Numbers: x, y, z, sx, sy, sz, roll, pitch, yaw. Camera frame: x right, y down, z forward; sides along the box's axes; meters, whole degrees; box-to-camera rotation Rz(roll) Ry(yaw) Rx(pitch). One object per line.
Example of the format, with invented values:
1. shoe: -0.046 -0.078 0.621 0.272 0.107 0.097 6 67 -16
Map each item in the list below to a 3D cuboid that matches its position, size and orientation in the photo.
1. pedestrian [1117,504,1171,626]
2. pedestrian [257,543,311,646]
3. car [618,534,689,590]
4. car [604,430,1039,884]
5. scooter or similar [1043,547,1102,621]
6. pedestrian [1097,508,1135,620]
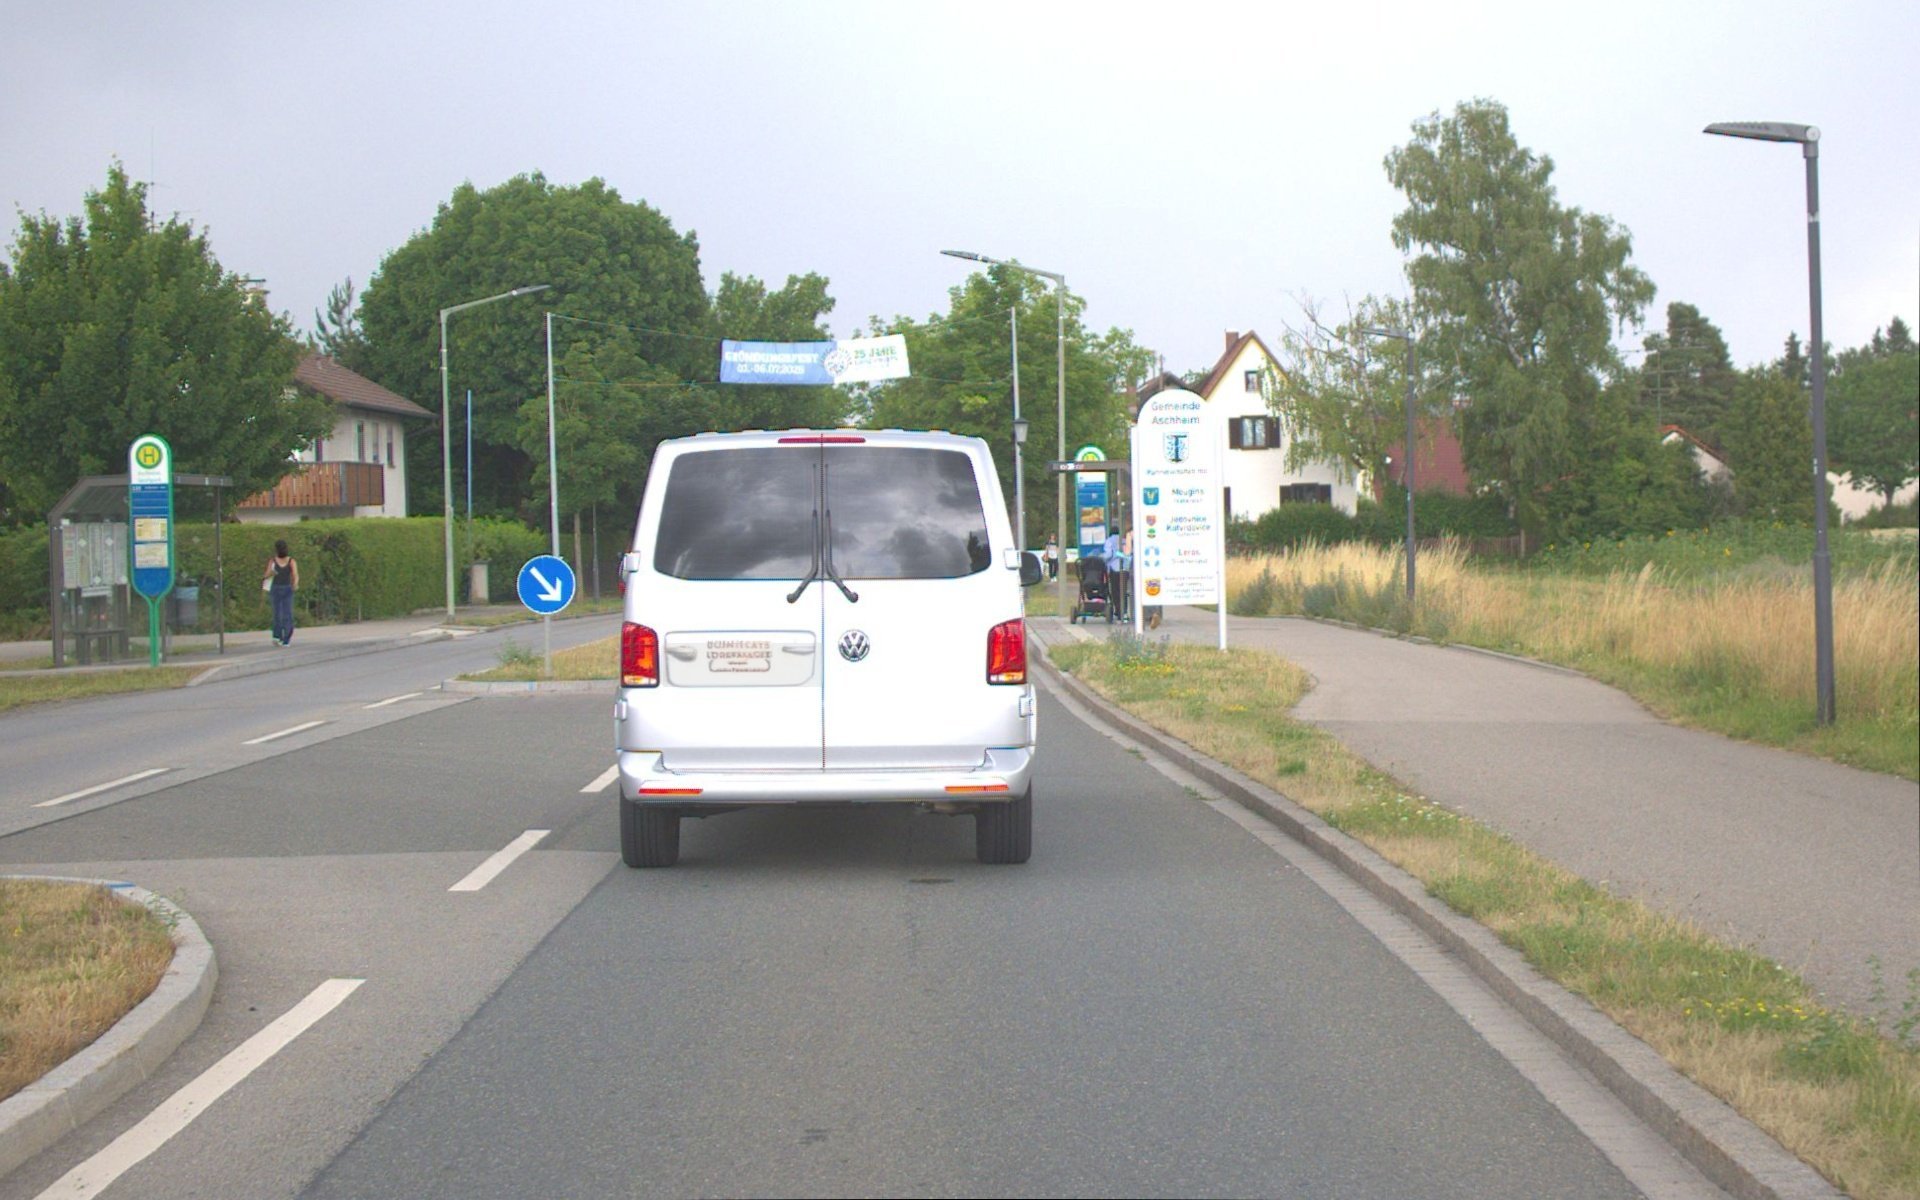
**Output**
1. pedestrian: 2.658 -0.505 49.737 0.640 1.726 0.486 -3 1 11
2. pedestrian: -10.355 -0.090 52.659 0.623 1.519 0.680 -3 1 -1
3. car: -8.501 -1.064 95.520 1.653 1.424 3.603 -3 1 -1
4. car: -0.656 0.192 16.507 1.825 1.907 4.001 0 1 -2
5. scooter or similar: 1.775 -0.260 54.320 0.848 1.100 1.094 -3 1 0
6. pedestrian: 2.457 -0.569 54.160 0.485 1.726 0.642 -3 1 -1
